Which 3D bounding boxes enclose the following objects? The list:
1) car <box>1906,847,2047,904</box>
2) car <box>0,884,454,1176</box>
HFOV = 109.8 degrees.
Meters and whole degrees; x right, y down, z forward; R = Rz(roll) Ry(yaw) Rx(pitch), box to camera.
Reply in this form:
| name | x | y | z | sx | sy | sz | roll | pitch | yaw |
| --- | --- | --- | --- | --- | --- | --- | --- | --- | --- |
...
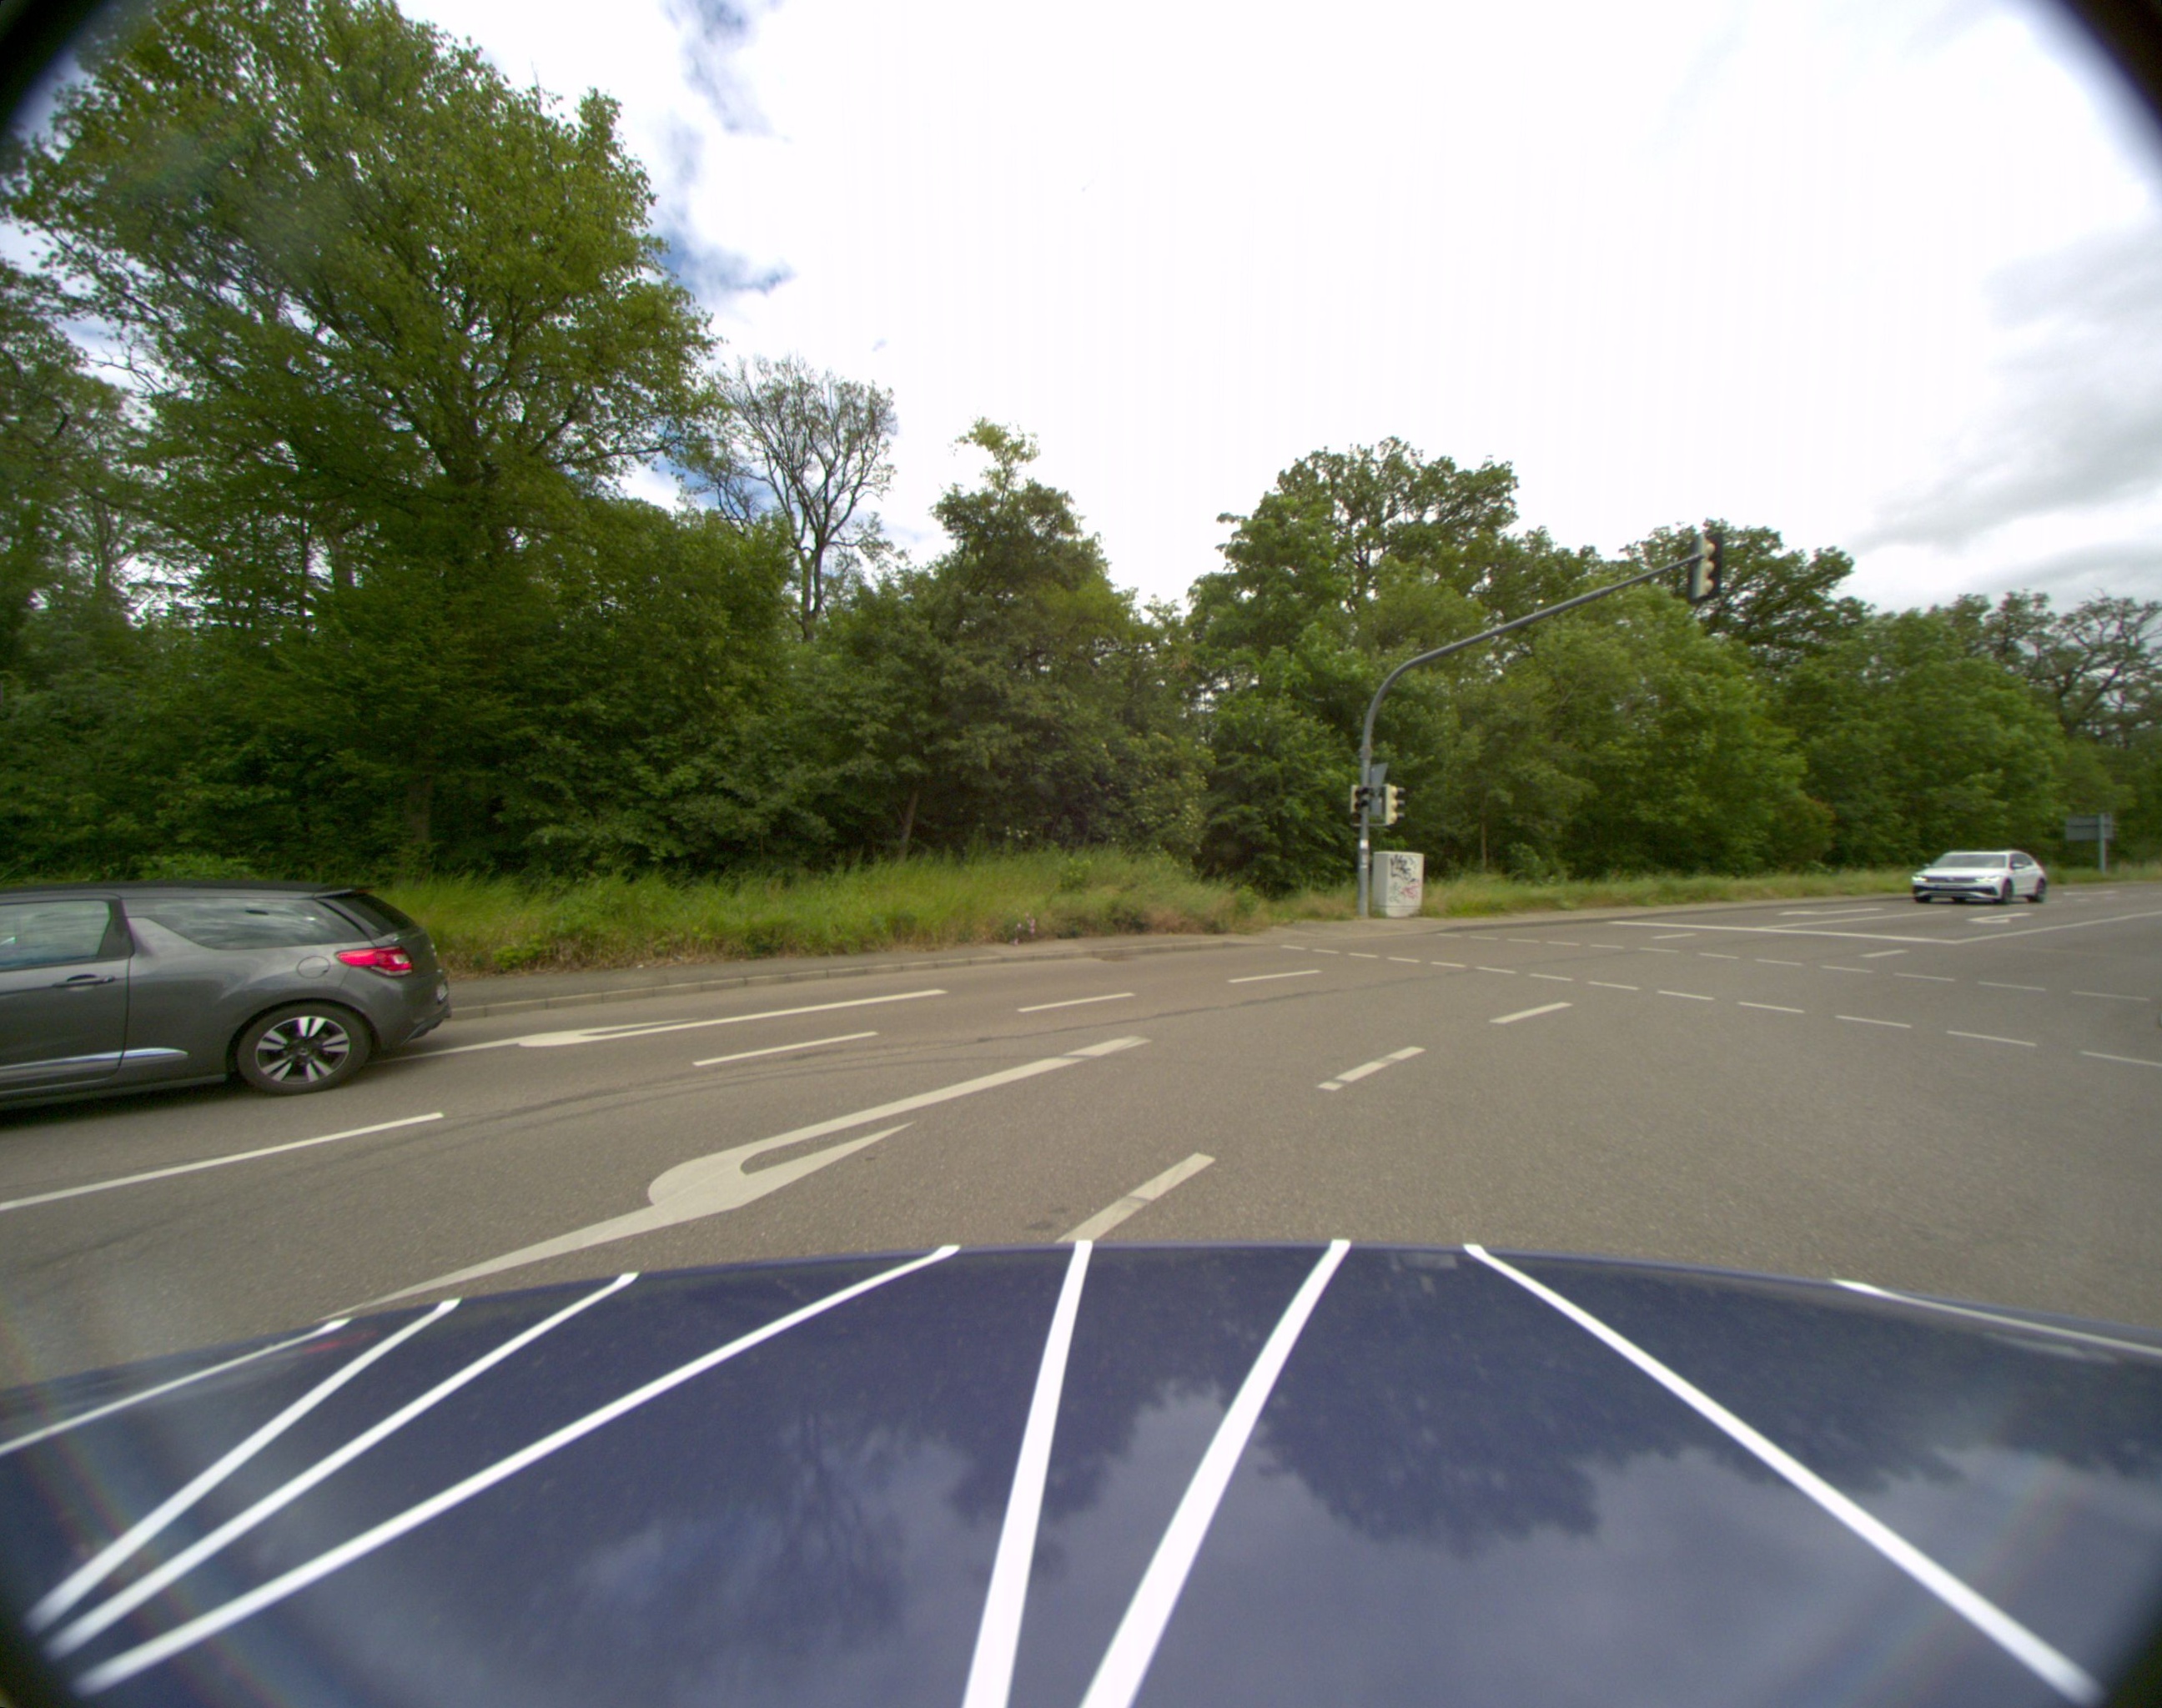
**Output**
| name | x | y | z | sx | sy | sz | roll | pitch | yaw |
| --- | --- | --- | --- | --- | --- | --- | --- | --- | --- |
| car | 27.921 | 0.648 | 23.670 | 4.661 | 1.618 | 1.860 | 0 | -1 | -28 |
| car | -6.721 | 1.065 | 4.983 | 3.814 | 1.502 | 1.818 | -1 | 2 | -33 |
